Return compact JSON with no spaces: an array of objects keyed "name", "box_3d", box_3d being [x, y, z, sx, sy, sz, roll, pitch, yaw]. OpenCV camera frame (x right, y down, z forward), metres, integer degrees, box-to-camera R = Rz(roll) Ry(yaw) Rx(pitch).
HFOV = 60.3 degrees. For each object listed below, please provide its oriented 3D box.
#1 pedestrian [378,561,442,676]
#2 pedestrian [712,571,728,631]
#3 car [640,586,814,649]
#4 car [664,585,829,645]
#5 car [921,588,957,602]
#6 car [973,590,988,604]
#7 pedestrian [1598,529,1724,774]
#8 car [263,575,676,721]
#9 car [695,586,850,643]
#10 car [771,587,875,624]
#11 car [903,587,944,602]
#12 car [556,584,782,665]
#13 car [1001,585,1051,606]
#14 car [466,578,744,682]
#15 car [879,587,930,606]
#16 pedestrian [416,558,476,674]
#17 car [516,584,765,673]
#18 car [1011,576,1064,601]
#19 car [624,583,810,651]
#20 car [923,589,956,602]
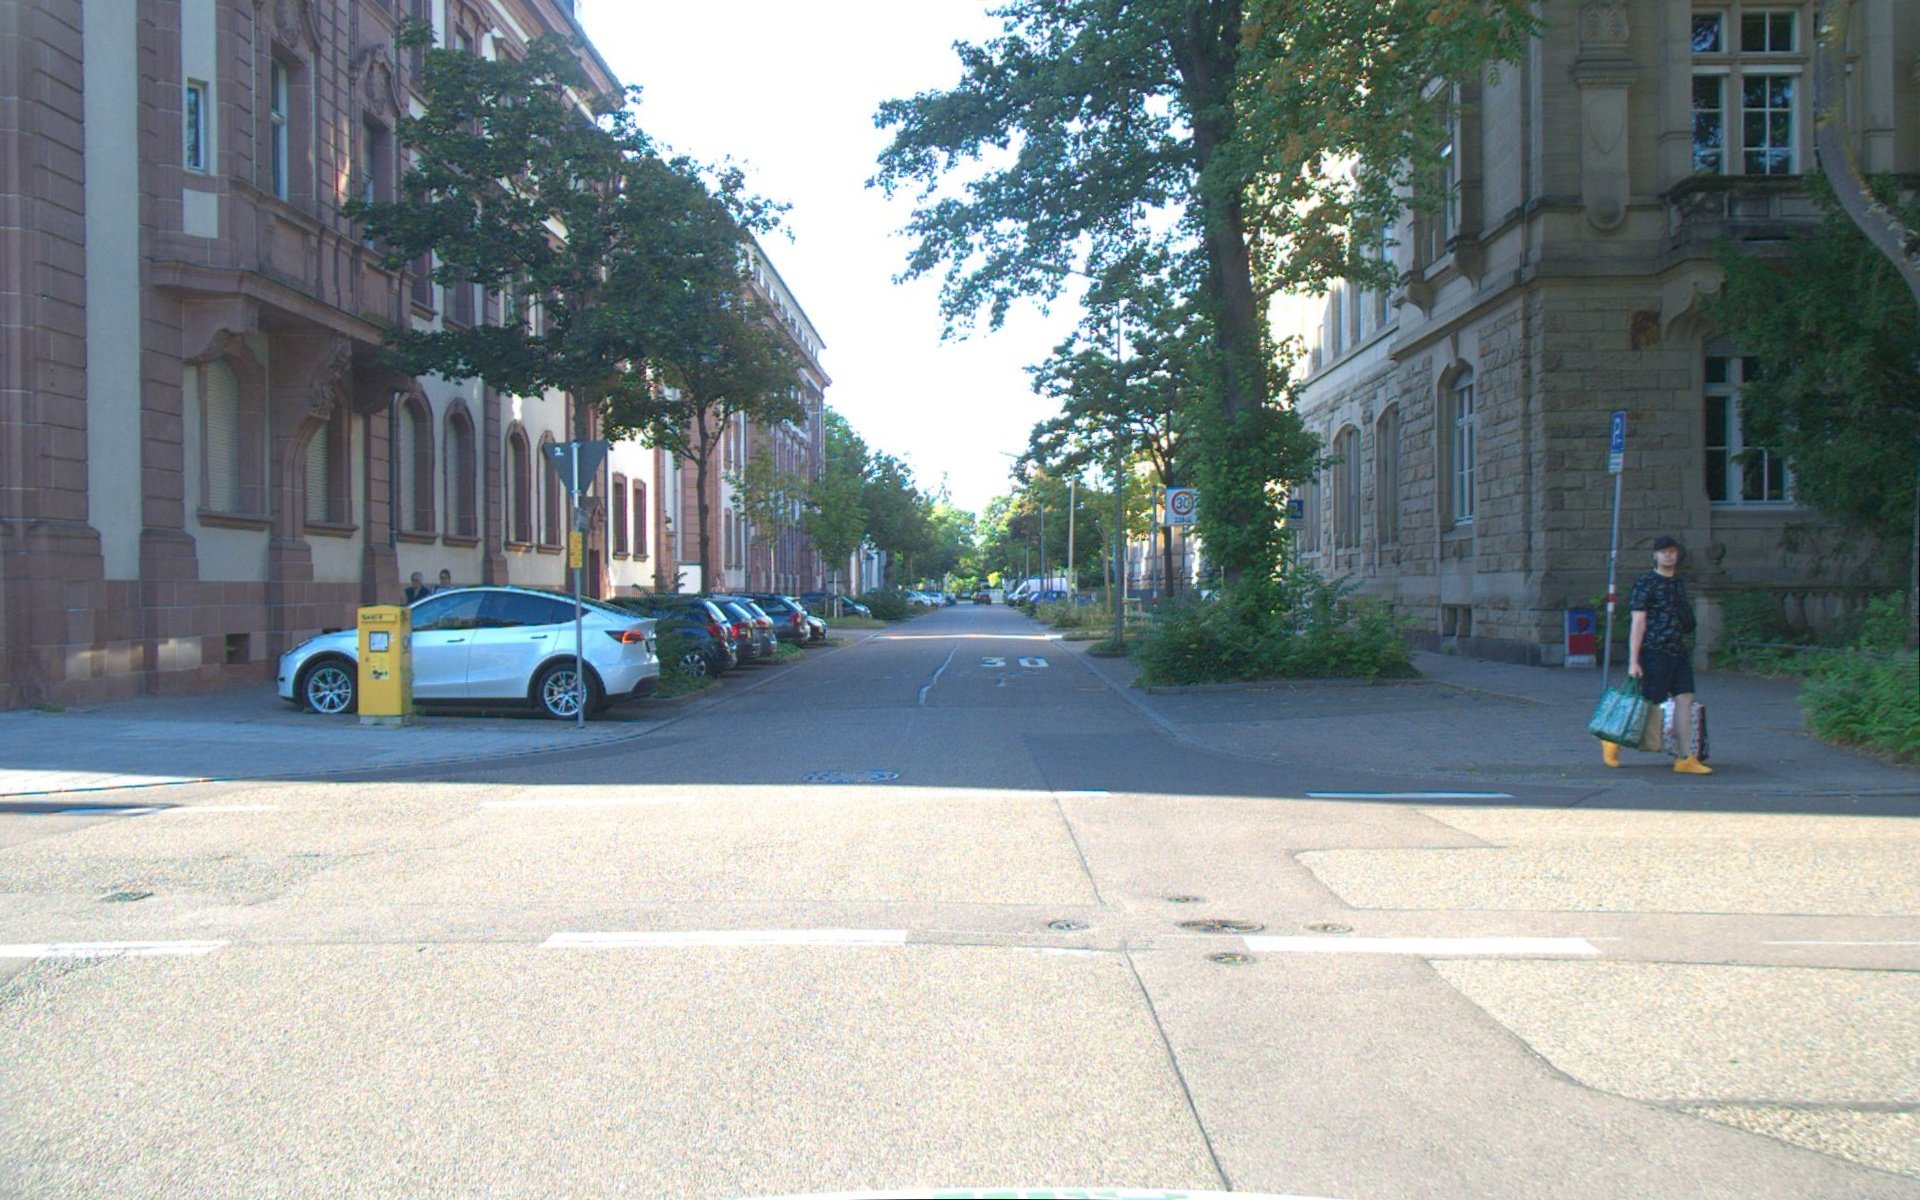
[{"name":"pedestrian","box_3d":[-9.202,0.301,27.678,0.771,1.872,0.717,1,0,3]},{"name":"pedestrian","box_3d":[-8.175,0.034,56.324,0.426,2.049,0.463,0,0,1]},{"name":"car","box_3d":[-6.016,0.433,43.097,4.290,1.522,1.966,1,0,-2]},{"name":"car","box_3d":[-5.836,0.404,45.598,4.290,1.522,1.966,1,0,-2]},{"name":"car","box_3d":[-2.354,-0.617,184.815,4.005,1.520,1.933,0,0,1]},{"name":"car","box_3d":[2.626,-0.408,208.551,1.709,1.735,3.672,0,0,-2]},{"name":"pedestrian","box_3d":[5.758,0.405,13.604,0.710,1.952,0.610,-1,0,-22]},{"name":"car","box_3d":[-6.087,0.577,20.962,4.612,1.617,1.966,2,0,-2]},{"name":"car","box_3d":[-5.366,0.401,47.792,4.290,1.522,1.966,1,0,-2]},{"name":"car","box_3d":[-5.933,0.233,72.032,4.288,1.522,1.967,1,0,1]},{"name":"car","box_3d":[-3.693,-0.555,165.897,4.005,1.520,1.933,0,0,1]},{"name":"car","box_3d":[-5.872,0.481,33.801,4.290,1.522,1.966,1,0,-2]},{"name":"car","box_3d":[5.244,-0.340,131.105,3.905,1.646,1.789,0,0,1]},{"name":"car","box_3d":[-5.919,0.490,28.012,4.290,1.613,1.966,1,0,-2]},{"name":"car","box_3d":[-4.465,-0.270,133.430,4.005,1.520,1.933,0,0,1]},{"name":"pedestrian","box_3d":[-8.435,0.257,27.157,0.709,1.872,0.613,2,0,3]},{"name":"car","box_3d":[-5.899,0.512,30.989,4.290,1.522,1.966,1,0,-2]},{"name":"car","box_3d":[6.851,-0.994,146.533,4.607,2.140,2.000,0,0,1]},{"name":"car","box_3d":[-5.891,0.398,40.503,4.290,1.522,1.966,1,0,-2]},{"name":"car","box_3d":[-2.548,-0.551,208.241,4.005,1.520,1.933,0,0,1]}]
